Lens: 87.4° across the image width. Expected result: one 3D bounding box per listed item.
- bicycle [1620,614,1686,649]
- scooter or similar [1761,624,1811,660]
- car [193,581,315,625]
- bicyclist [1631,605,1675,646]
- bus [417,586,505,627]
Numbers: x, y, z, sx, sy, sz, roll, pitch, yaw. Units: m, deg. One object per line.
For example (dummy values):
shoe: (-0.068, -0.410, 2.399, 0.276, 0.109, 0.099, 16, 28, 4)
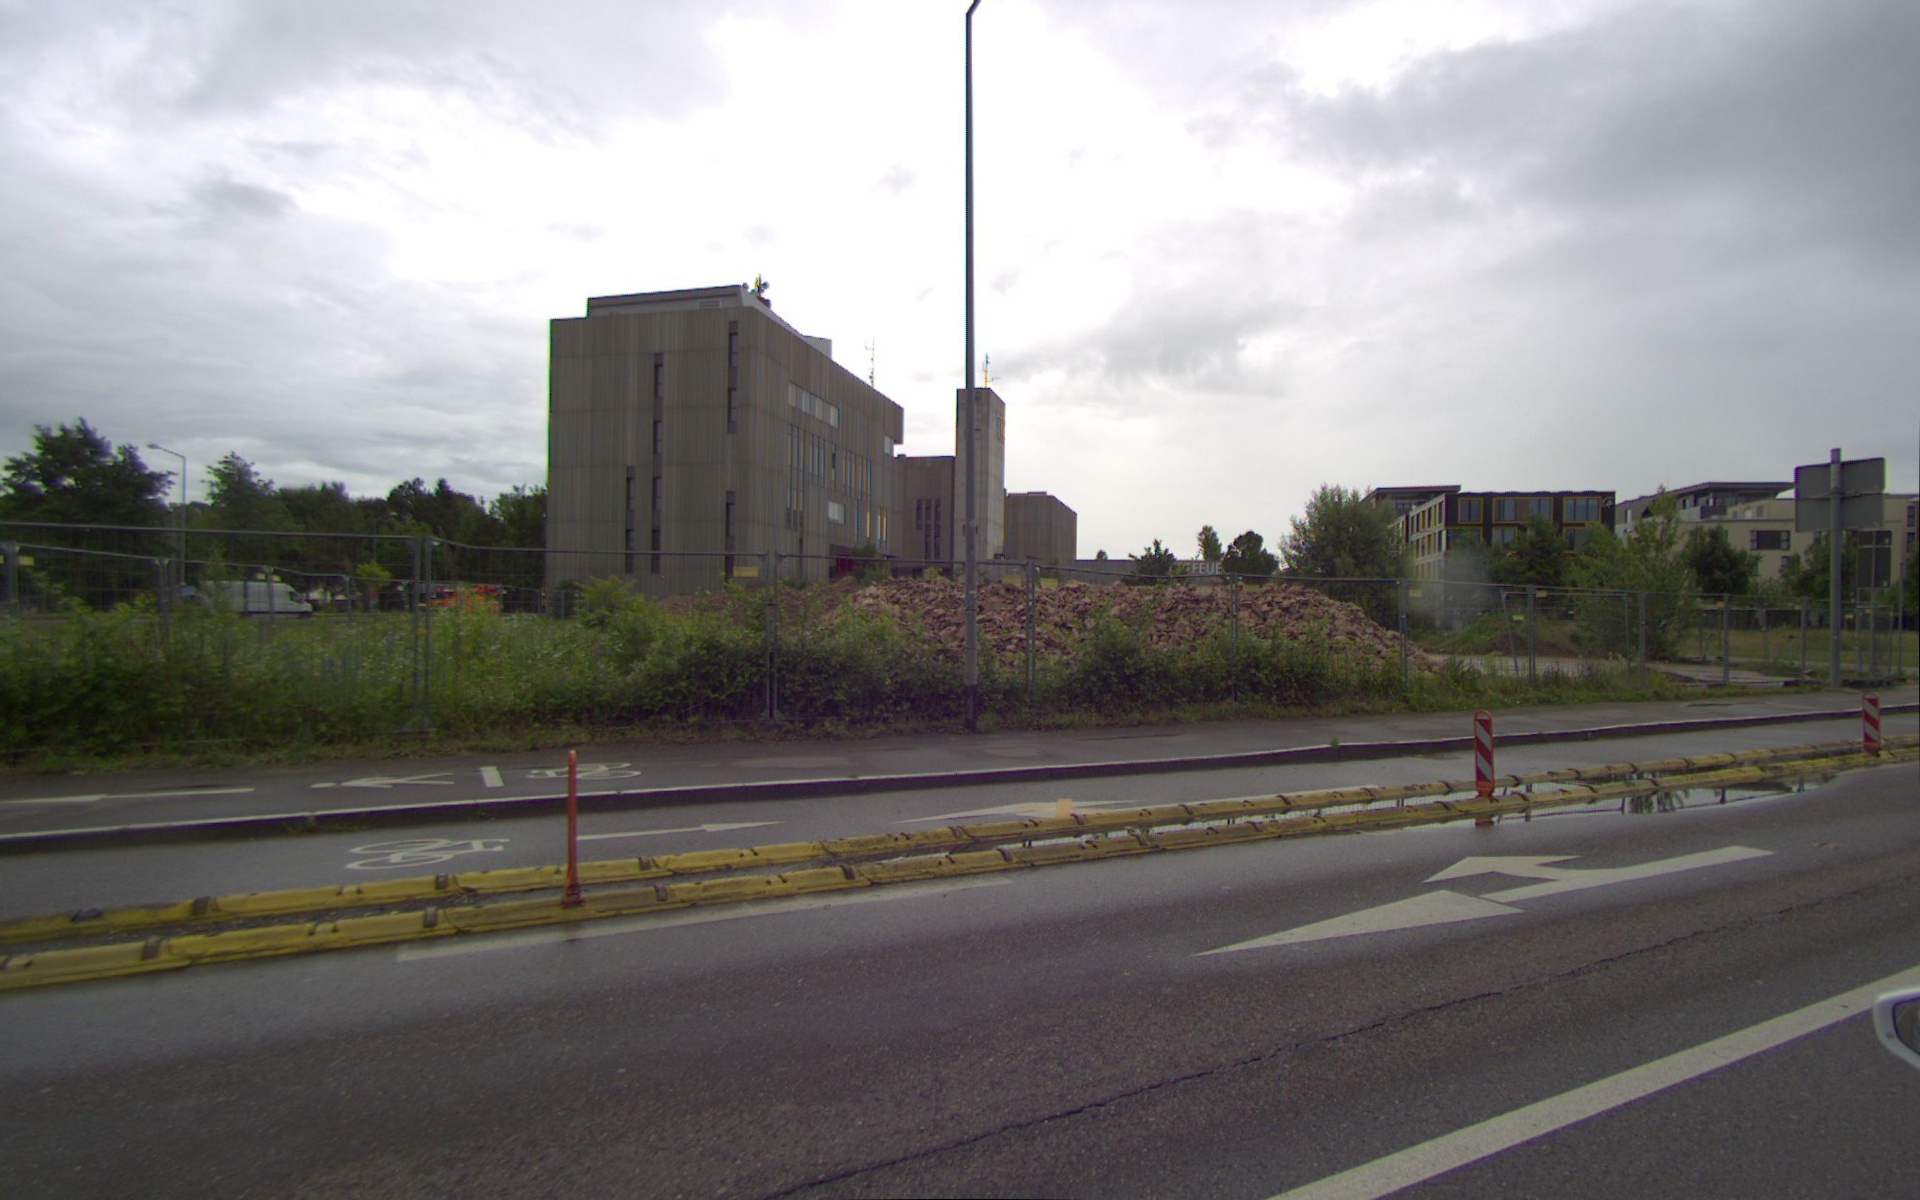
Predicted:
bicycle: (32.930, 1.488, 47.783, 1.068, 1.605, 2.493, 0, 0, -14)
scooter or similar: (28.618, 1.446, 34.824, 0.644, 1.157, 1.903, 1, 0, 18)
car: (-46.460, 0.213, 66.331, 2.349, 2.740, 6.576, 0, 0, 15)
bicyclist: (32.922, 1.181, 47.717, 1.059, 1.924, 1.399, 0, 0, -13)
bus: (-52.226, 0.682, 105.552, 2.679, 4.035, 9.896, 0, 0, 12)
